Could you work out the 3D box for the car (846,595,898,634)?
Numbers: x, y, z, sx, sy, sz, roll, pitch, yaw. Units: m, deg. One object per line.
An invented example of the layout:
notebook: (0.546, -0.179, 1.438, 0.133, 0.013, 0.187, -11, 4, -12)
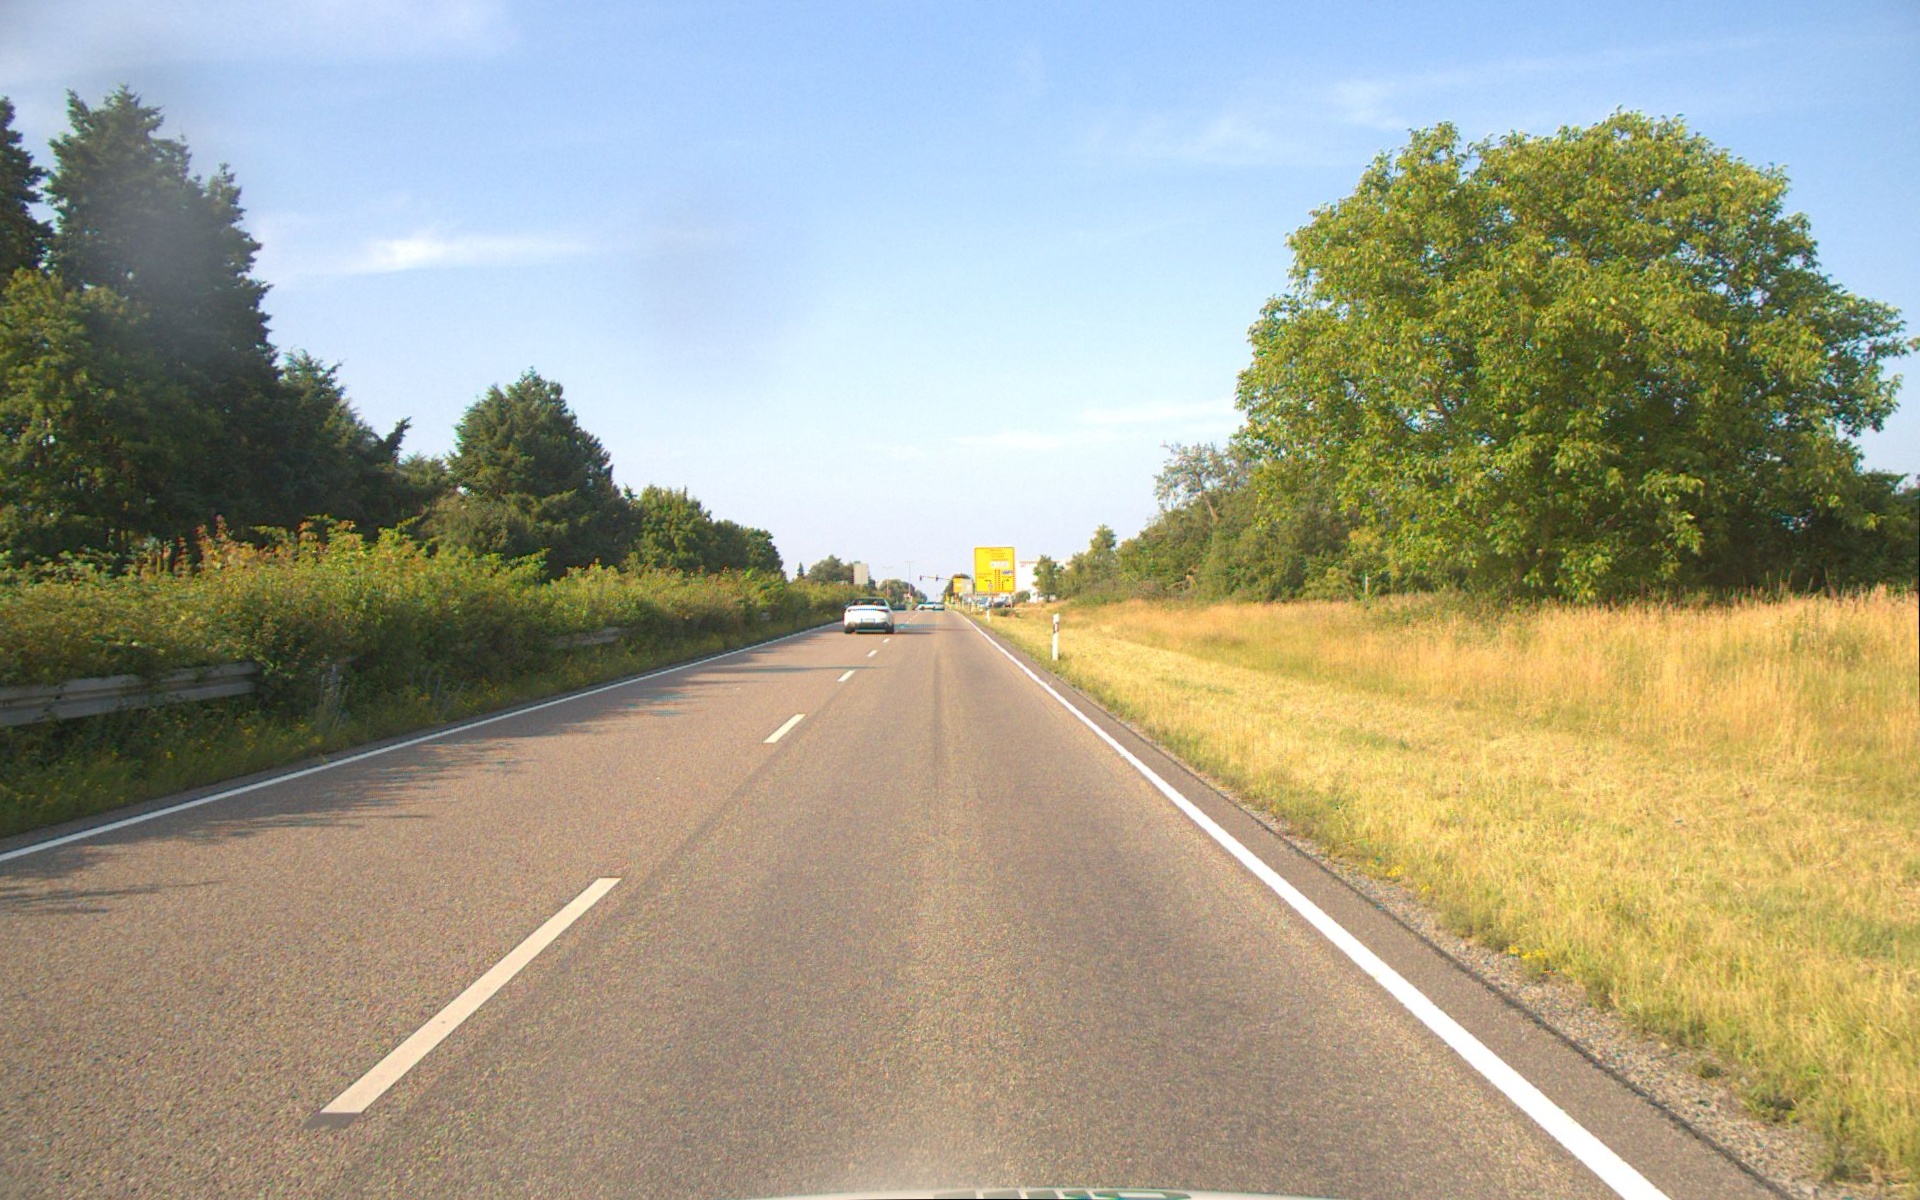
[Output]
car: (-3.375, 0.528, 64.000, 1.871, 1.447, 3.999, 1, 0, -2)
